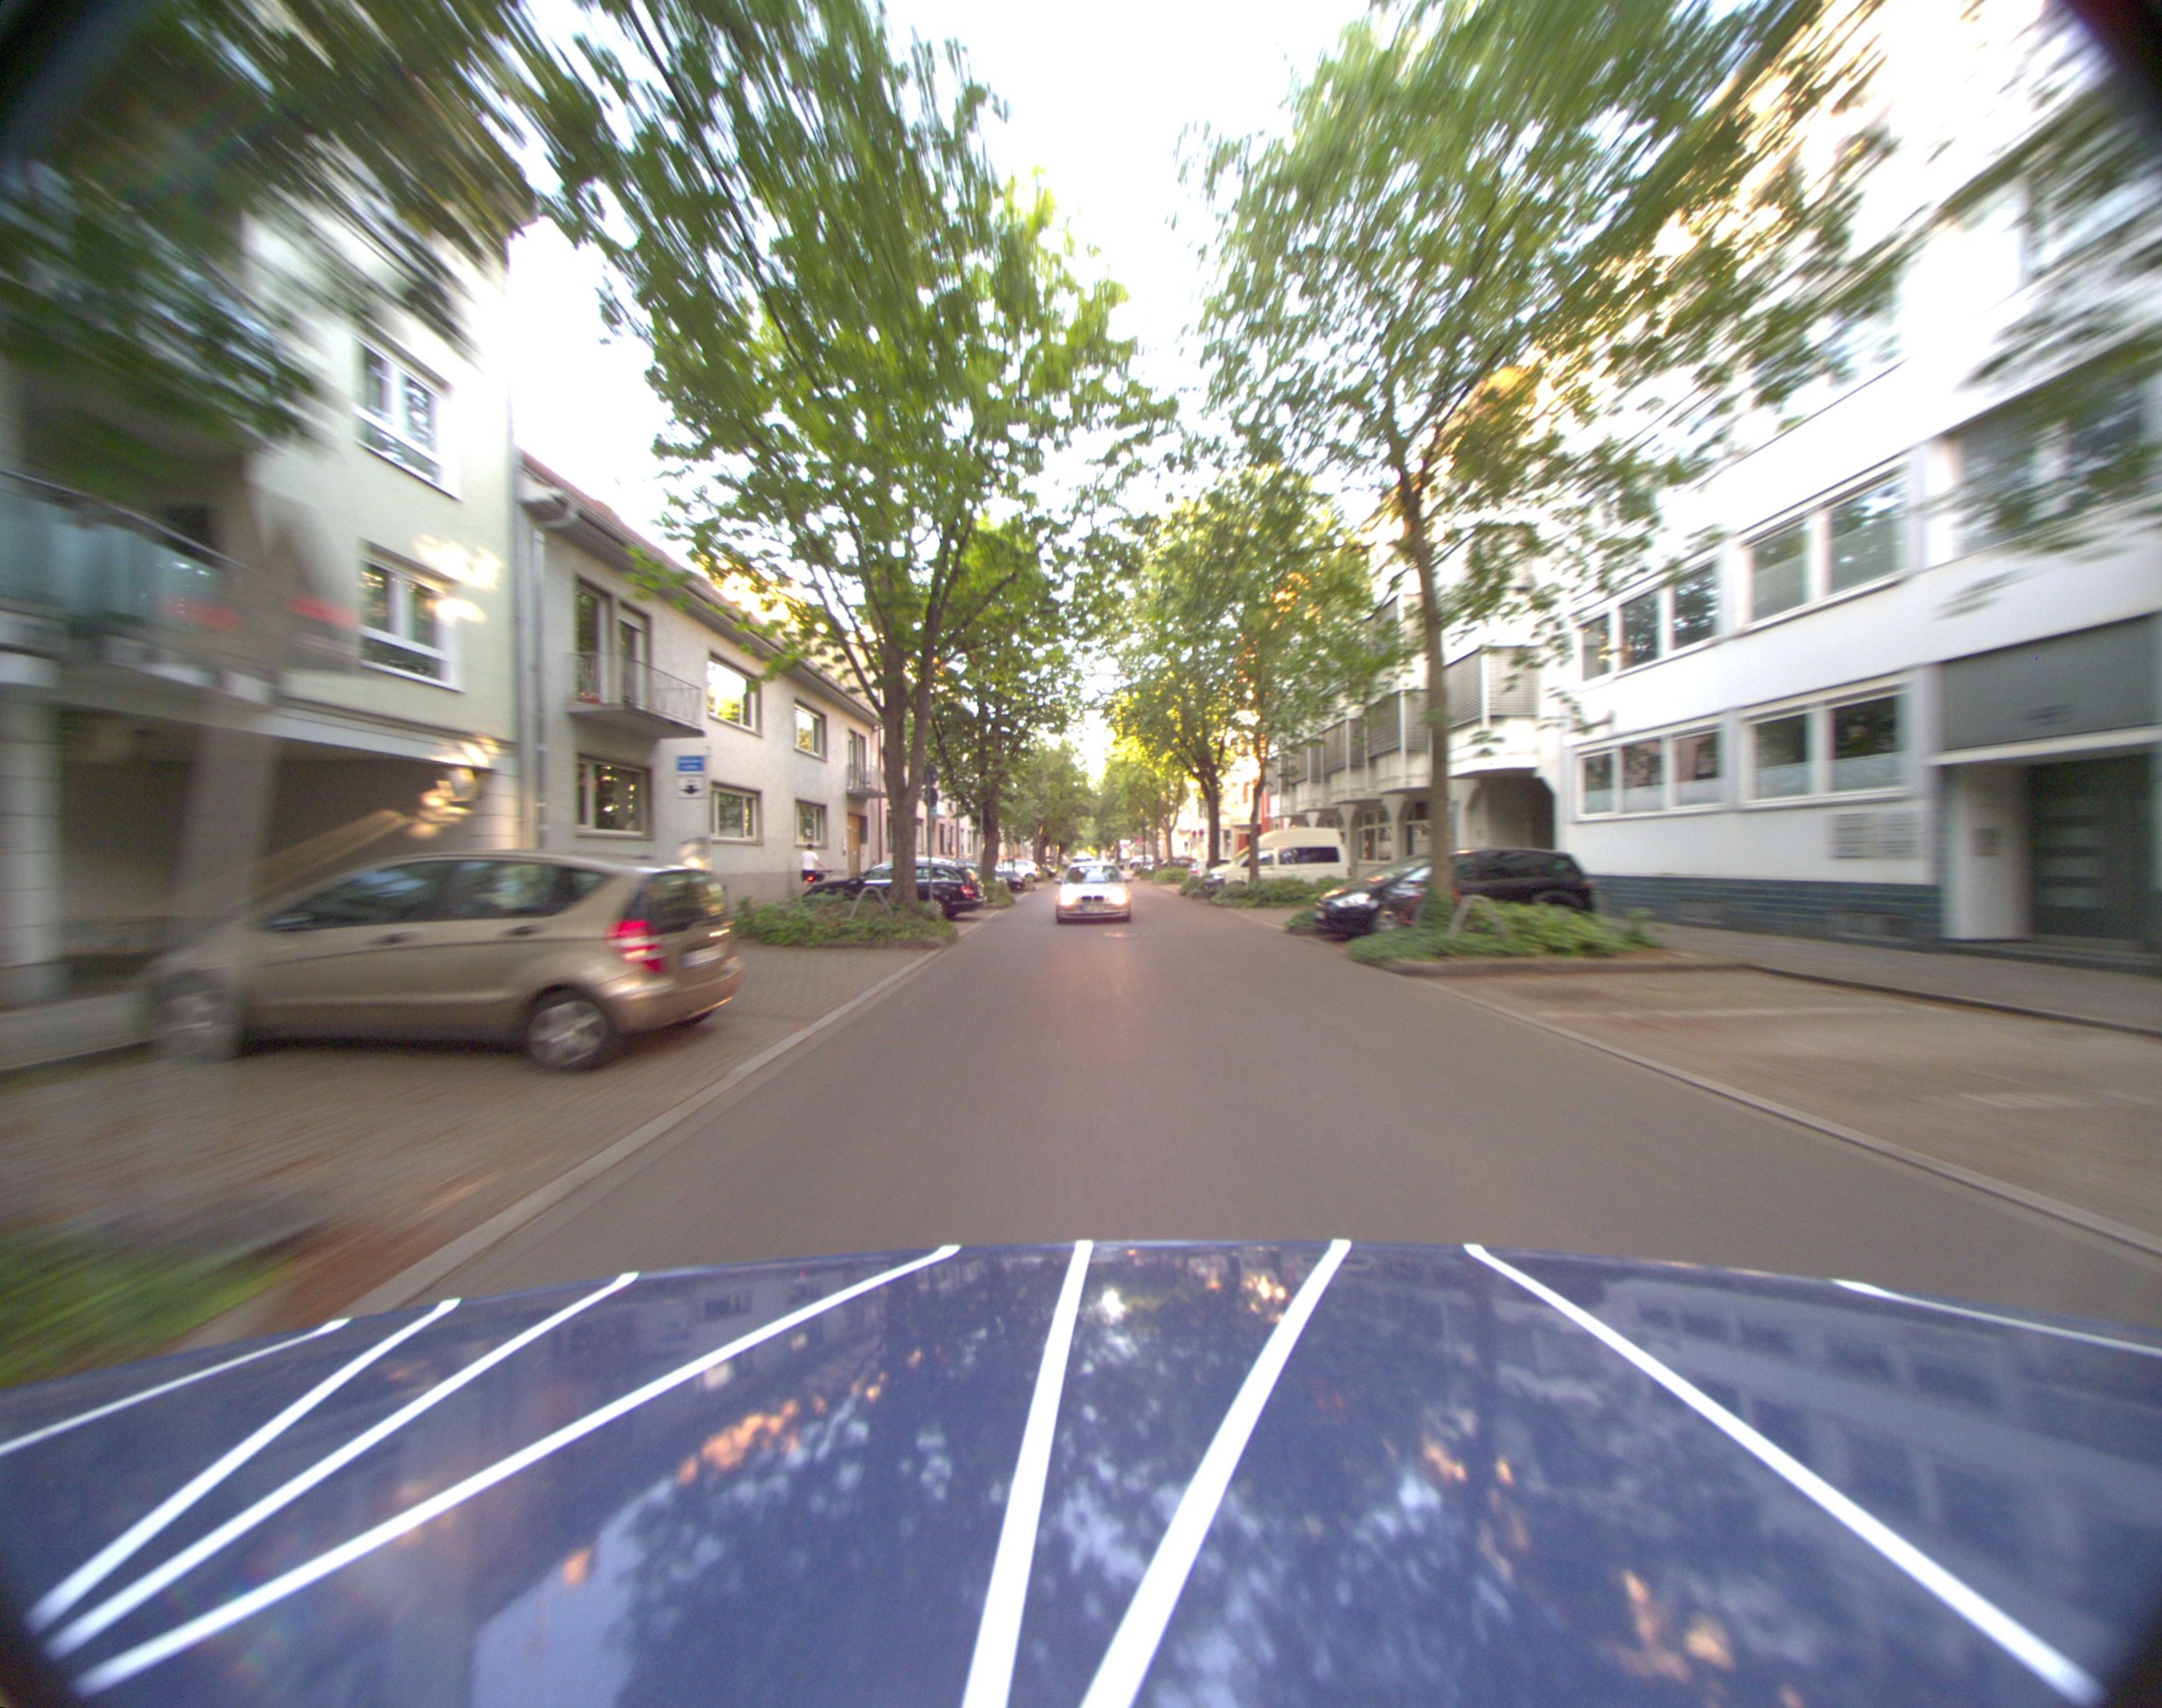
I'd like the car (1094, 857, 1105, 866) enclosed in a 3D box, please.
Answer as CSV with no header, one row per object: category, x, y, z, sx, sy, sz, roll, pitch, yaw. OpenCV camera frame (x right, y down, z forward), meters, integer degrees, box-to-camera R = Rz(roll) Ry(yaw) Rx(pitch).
car,3.396,1.342,138.983,1.787,1.678,4.385,-1,0,-2

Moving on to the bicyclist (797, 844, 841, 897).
bicyclist,-8.052,0.496,23.378,0.973,1.595,1.135,-1,0,-4

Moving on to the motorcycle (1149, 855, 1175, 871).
motorcycle,7.548,0.849,70.987,2.234,1.461,0.900,-1,0,-22

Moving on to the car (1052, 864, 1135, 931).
car,0.281,0.950,18.302,1.736,1.363,4.332,-1,0,0

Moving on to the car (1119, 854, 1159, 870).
car,6.914,0.942,90.250,4.601,1.725,2.142,-1,0,5

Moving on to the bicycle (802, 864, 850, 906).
bicycle,-7.856,0.908,23.548,0.622,1.157,3.399,-1,0,-5

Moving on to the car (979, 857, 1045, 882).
car,-4.352,0.968,48.499,4.093,1.482,1.798,-1,0,-3

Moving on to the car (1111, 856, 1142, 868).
car,6.803,1.130,114.324,4.529,1.705,2.000,-1,0,1

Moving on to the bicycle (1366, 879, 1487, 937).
bicycle,5.243,0.820,11.601,1.556,0.826,0.613,-1,0,3

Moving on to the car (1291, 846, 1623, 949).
car,6.501,0.715,13.630,4.864,1.612,2.160,-1,0,1

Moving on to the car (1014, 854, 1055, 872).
car,-4.269,0.833,70.008,3.731,1.544,1.754,-1,0,-2

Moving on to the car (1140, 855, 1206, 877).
car,6.633,0.885,55.249,4.520,1.517,1.872,-1,0,0

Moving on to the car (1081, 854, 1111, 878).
car,1.111,0.871,55.538,1.892,1.635,4.001,-2,0,4

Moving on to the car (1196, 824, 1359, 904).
car,6.636,0.341,26.130,5.016,2.558,2.121,-1,0,0

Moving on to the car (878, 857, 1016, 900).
car,-4.885,0.881,28.209,4.689,1.380,2.000,2,0,2

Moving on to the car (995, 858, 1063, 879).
car,-3.816,1.058,56.472,4.886,1.488,1.988,-1,0,0

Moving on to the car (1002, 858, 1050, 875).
car,-4.437,0.997,61.323,3.846,1.403,1.712,0,0,-4

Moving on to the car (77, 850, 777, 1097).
car,-4.860,0.821,6.159,3.979,1.576,1.916,2,0,0

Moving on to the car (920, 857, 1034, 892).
car,-4.669,0.909,34.673,4.851,1.439,2.042,1,0,3

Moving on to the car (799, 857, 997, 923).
car,-4.557,0.871,19.356,4.468,1.419,2.012,2,0,5

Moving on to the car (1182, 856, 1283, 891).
car,6.792,0.875,34.369,4.178,1.460,1.953,-1,0,1
